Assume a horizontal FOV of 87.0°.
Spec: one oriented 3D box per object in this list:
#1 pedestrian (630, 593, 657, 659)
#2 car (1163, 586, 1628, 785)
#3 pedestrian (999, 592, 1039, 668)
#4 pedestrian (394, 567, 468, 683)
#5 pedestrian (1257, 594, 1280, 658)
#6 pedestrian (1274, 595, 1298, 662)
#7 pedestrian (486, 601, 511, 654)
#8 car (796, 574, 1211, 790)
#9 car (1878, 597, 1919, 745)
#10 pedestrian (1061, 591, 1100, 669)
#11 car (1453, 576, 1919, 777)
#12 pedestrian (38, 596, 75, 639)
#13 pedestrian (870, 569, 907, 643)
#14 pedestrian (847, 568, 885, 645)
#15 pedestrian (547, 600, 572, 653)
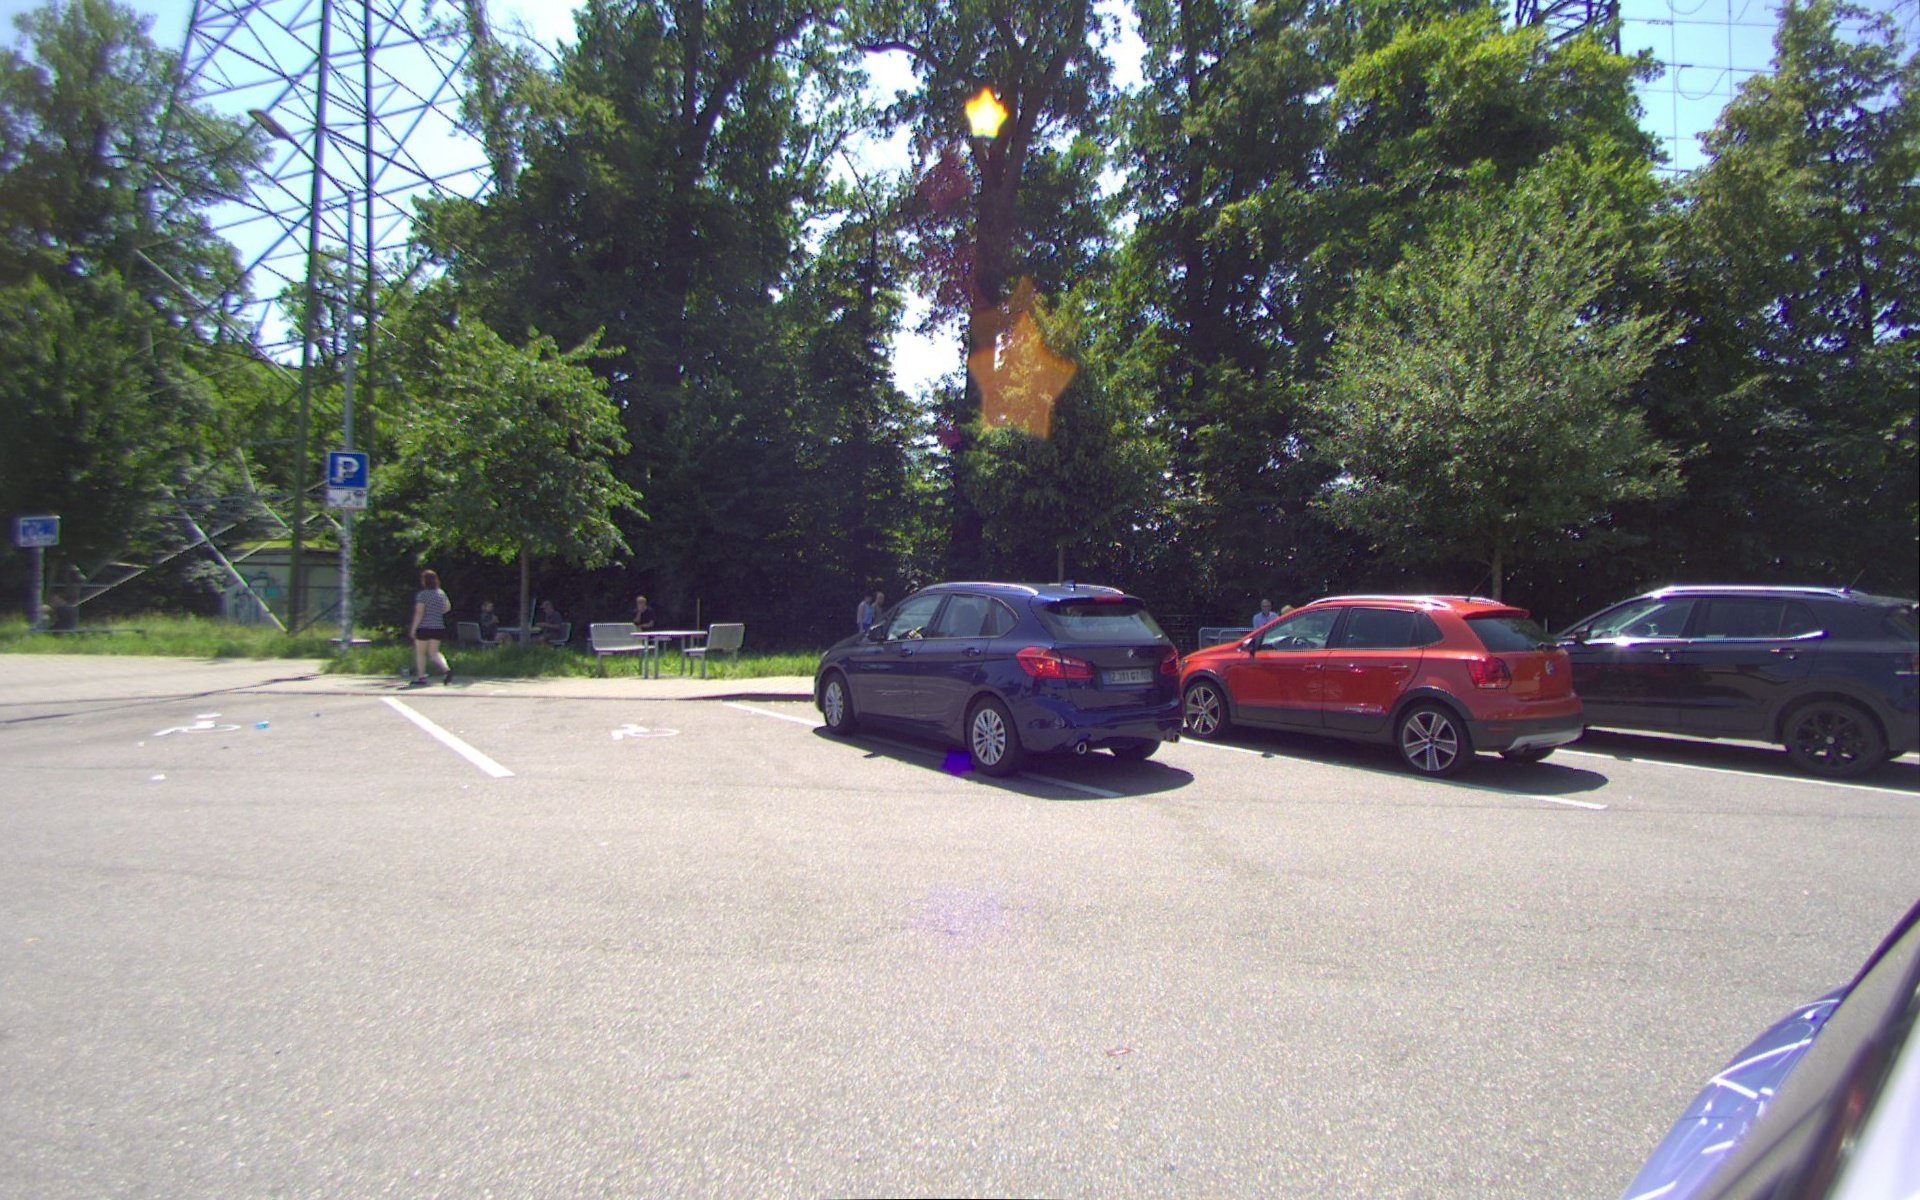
[{"bbox_3d":[-6.677,0.542,21.348,0.438,1.363,0.462,0,0,-5],"label":"pedestrian"},{"bbox_3d":[3.888,0.628,9.649,1.619,1.487,3.830,0,0,-33],"label":"car"},{"bbox_3d":[0.998,0.491,17.113,0.586,1.261,0.445,0,0,16],"label":"pedestrian"},{"bbox_3d":[-7.823,0.363,14.981,0.703,1.670,0.686,0,0,9],"label":"pedestrian"},{"bbox_3d":[5.828,0.486,19.125,0.350,1.180,0.384,0,0,8],"label":"pedestrian"},{"bbox_3d":[5.780,0.498,17.950,0.350,1.180,0.384,0,0,8],"label":"pedestrian"},{"bbox_3d":[-10.424,0.610,22.860,0.452,1.182,0.447,0,0,-34],"label":"pedestrian"},{"bbox_3d":[0.147,0.556,9.673,1.715,1.572,4.345,0,1,-34],"label":"car"},{"bbox_3d":[10.904,0.695,9.009,1.620,1.420,3.826,0,0,-37],"label":"car"},{"bbox_3d":[2.012,0.488,16.857,0.586,1.261,0.498,0,0,16],"label":"pedestrian"},{"bbox_3d":[7.104,0.586,9.864,1.620,1.575,3.826,0,0,-37],"label":"car"},{"bbox_3d":[-20.942,0.395,23.462,0.452,0.987,0.447,0,0,-2],"label":"pedestrian"},{"bbox_3d":[-1.590,0.131,22.554,0.567,1.625,0.641,0,0,27],"label":"pedestrian"},{"bbox_3d":[-2.033,0.139,21.921,0.567,1.625,0.641,0,0,27],"label":"pedestrian"},{"bbox_3d":[-9.335,0.611,23.601,0.452,1.209,0.447,0,0,-34],"label":"pedestrian"}]
